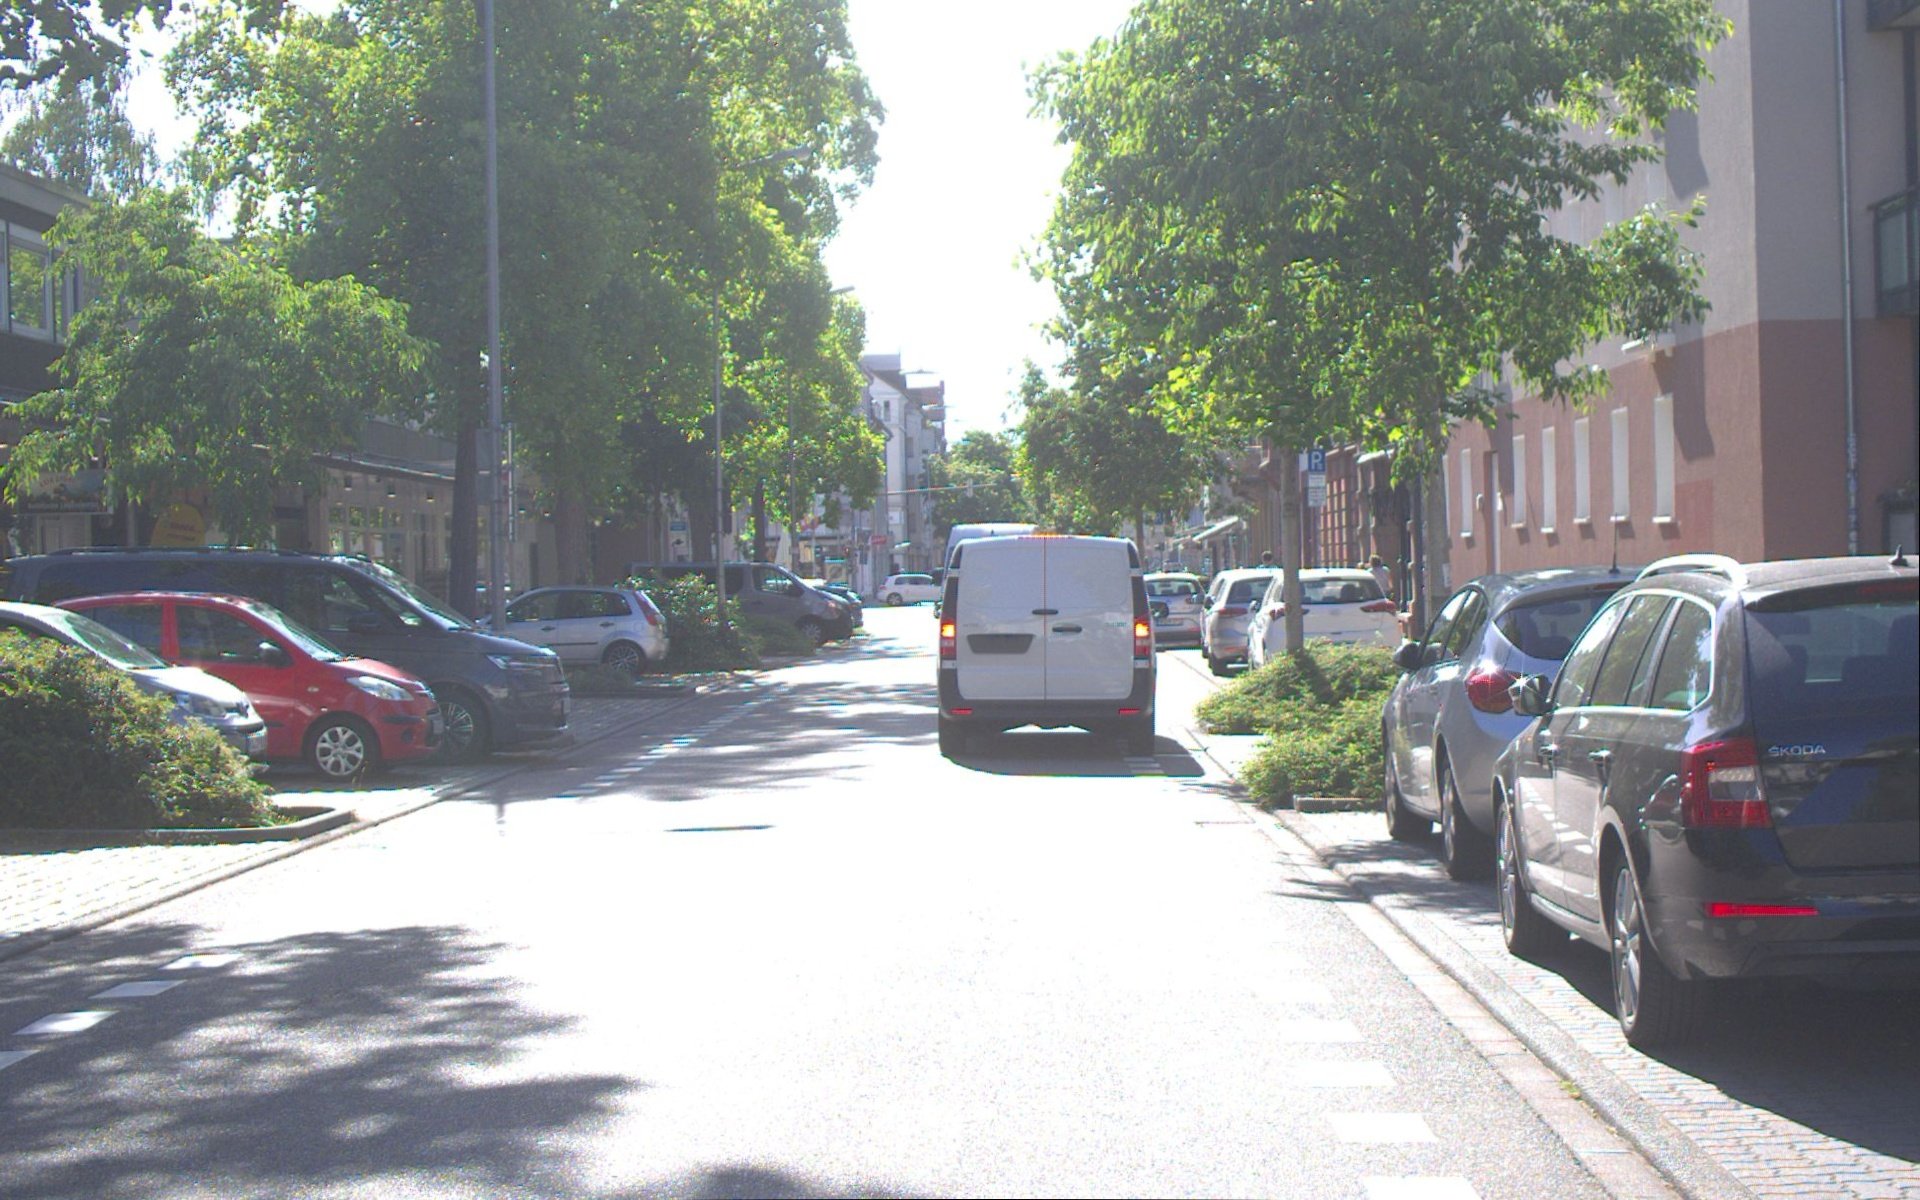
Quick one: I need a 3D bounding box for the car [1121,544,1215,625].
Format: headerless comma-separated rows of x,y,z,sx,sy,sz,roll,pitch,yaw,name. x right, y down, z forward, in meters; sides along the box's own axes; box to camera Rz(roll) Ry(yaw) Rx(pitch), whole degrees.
4.092,-0.331,68.052,1.740,1.514,3.858,-2,1,2,car

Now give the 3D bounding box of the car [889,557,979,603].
-1.192,-0.918,157.025,3.986,2.007,2.000,-1,1,-2,car

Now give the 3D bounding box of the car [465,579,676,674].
-6.114,0.409,54.226,3.099,1.404,1.662,-1,1,1,car

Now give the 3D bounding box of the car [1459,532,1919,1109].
2.842,0.564,11.547,1.783,1.514,4.308,-3,1,2,car

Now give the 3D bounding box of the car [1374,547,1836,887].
3.182,0.509,17.654,1.740,1.514,3.858,-2,1,2,car

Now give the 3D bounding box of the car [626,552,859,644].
-4.981,-0.056,79.072,5.212,1.974,1.662,-1,1,1,car

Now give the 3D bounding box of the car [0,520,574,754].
-6.227,0.320,31.195,5.212,1.974,1.662,-1,1,1,car

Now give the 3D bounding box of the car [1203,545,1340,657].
4.489,-0.013,49.971,1.740,1.514,3.858,-2,1,2,car

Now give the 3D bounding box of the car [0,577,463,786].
-6.601,0.666,28.660,4.626,1.605,1.662,-1,1,1,car

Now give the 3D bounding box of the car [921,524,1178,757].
0.783,0.287,31.460,2.101,1.901,5.425,-1,1,1,car

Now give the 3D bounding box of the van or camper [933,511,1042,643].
0.605,-0.499,69.045,1.993,2.467,5.820,-2,1,2,van or camper

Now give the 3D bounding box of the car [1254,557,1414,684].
4.776,0.227,44.341,1.740,1.514,3.858,-2,1,2,car
